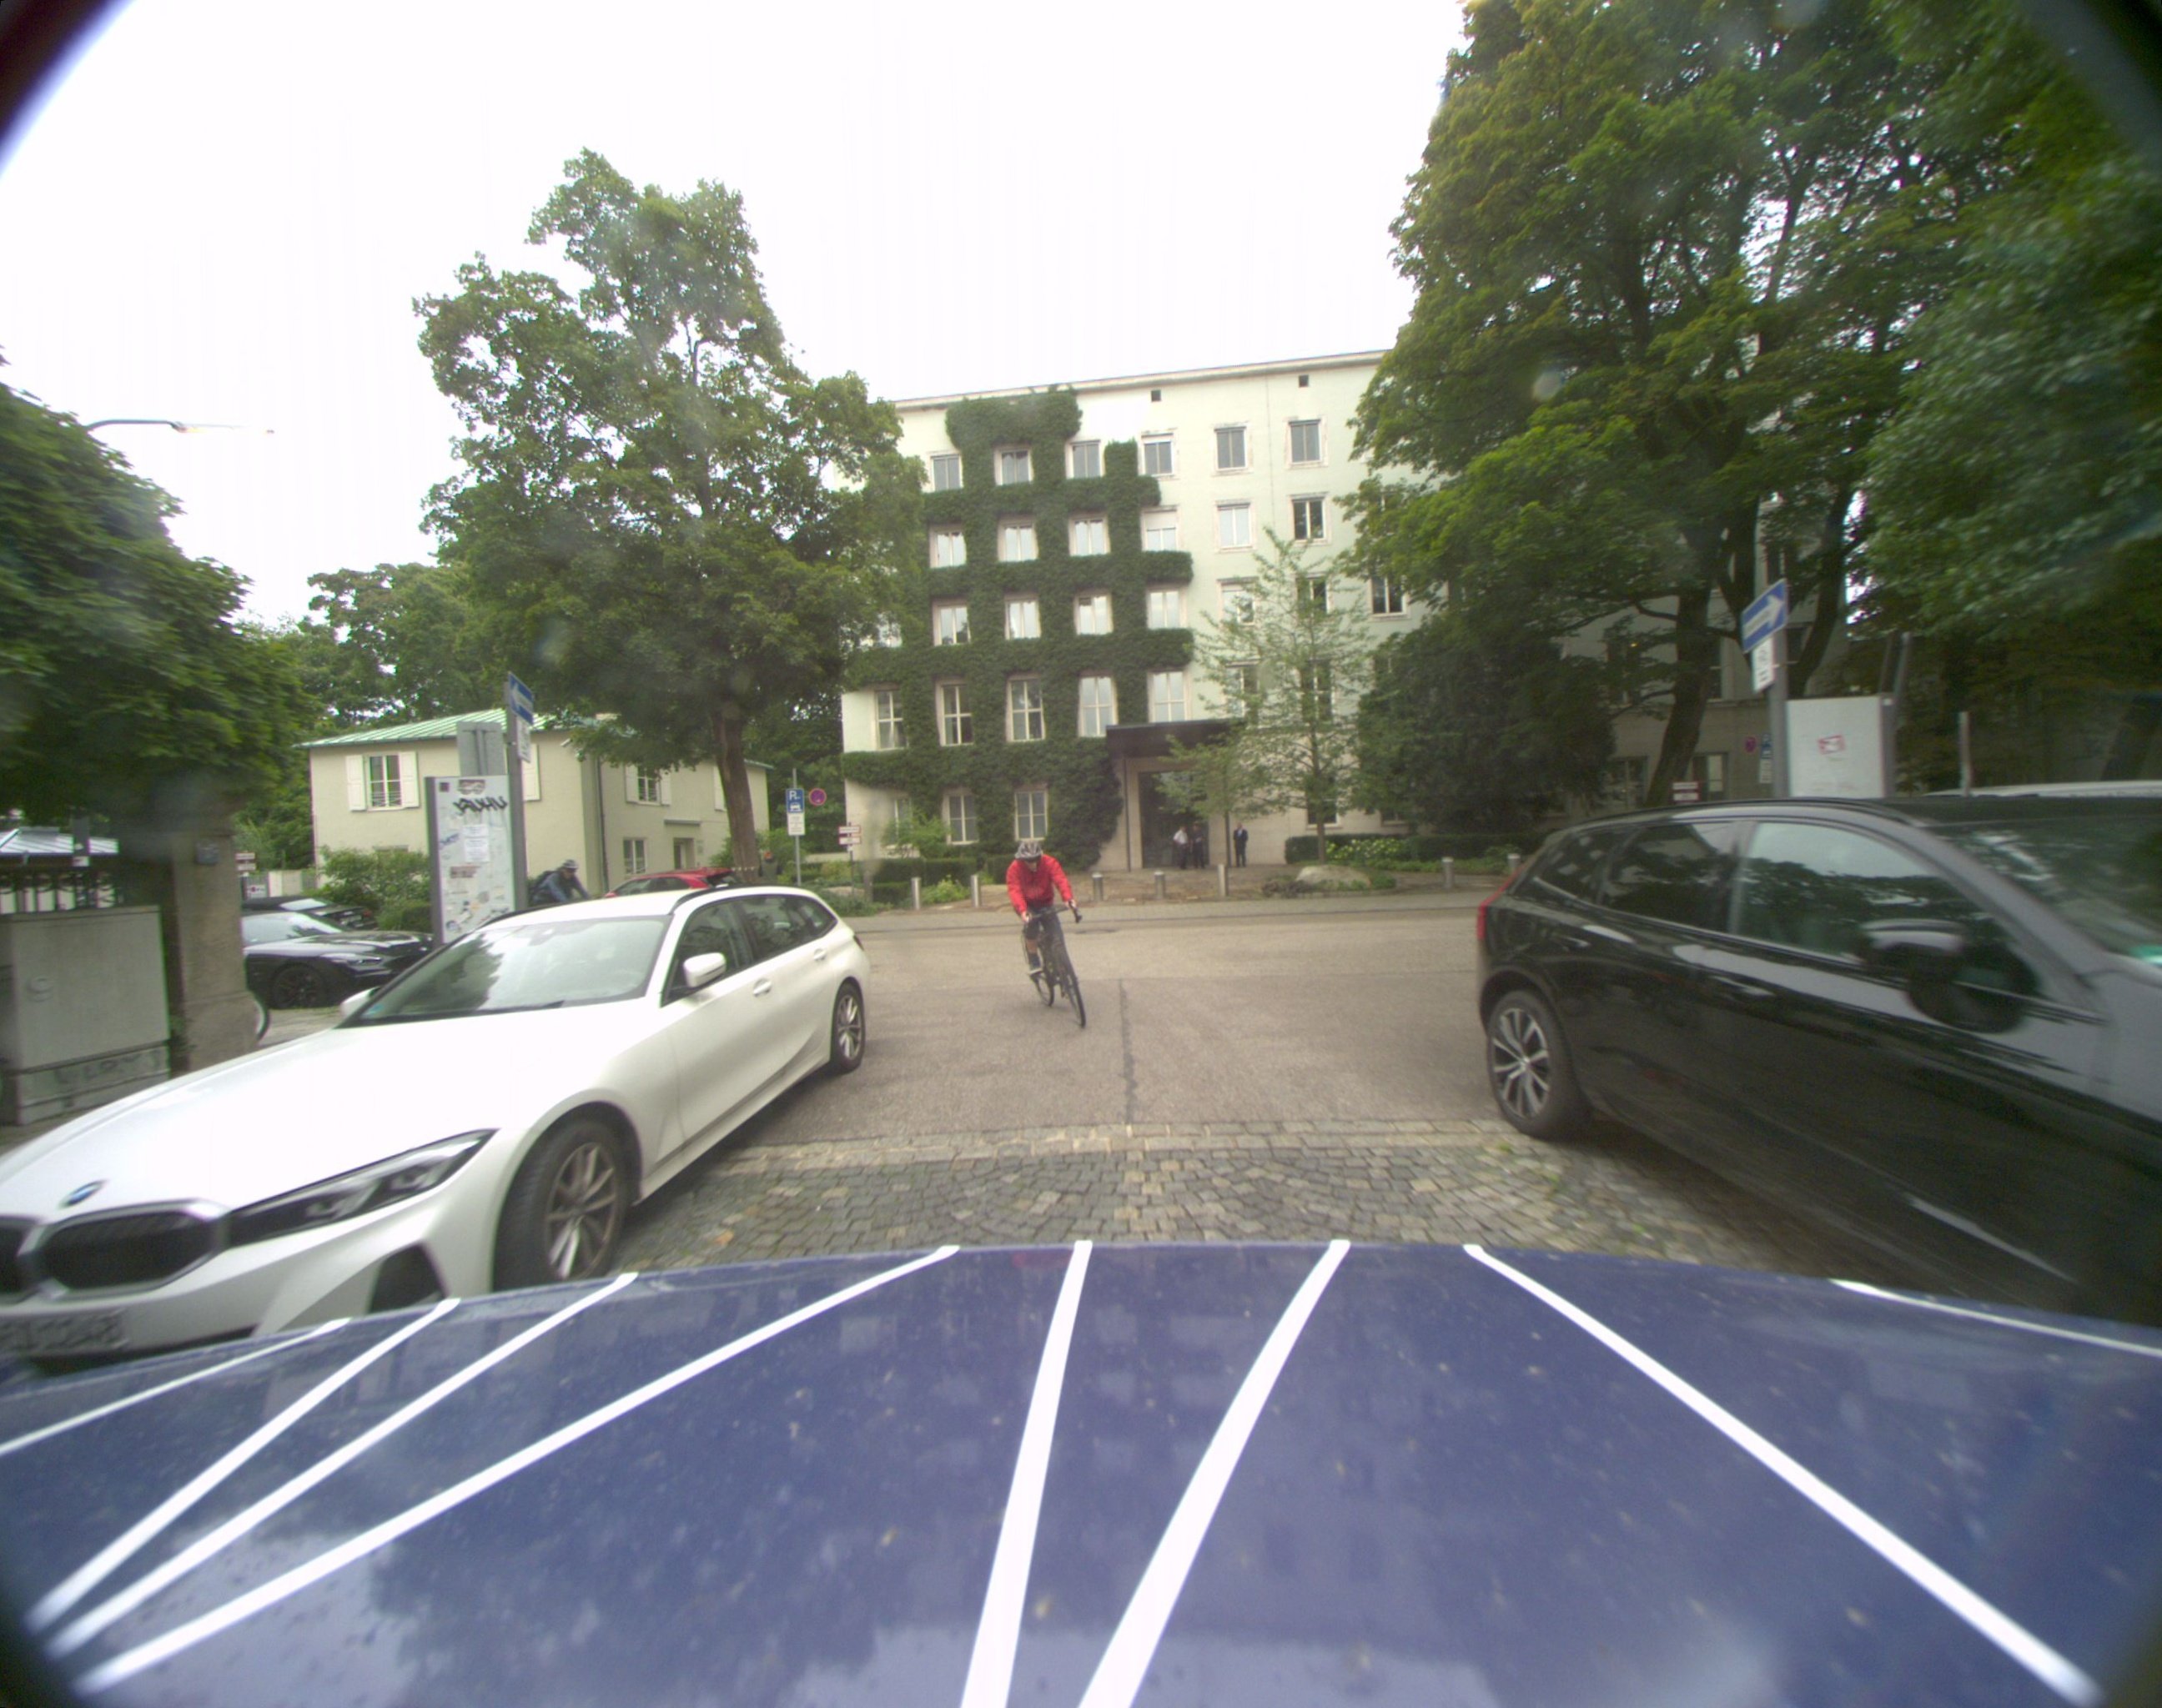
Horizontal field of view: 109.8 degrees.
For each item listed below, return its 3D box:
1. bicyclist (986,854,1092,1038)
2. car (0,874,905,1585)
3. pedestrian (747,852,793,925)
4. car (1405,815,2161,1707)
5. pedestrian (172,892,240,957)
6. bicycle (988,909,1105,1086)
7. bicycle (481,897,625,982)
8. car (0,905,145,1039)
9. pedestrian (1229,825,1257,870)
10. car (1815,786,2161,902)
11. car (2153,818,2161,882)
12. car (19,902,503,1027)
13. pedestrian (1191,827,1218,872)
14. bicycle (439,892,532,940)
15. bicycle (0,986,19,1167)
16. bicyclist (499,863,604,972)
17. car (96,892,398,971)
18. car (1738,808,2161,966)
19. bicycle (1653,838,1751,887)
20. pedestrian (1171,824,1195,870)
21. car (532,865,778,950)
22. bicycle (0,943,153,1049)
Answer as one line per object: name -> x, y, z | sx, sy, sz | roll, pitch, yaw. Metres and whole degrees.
bicyclist -> -0.404, 0.760, 6.820 | 0.757, 1.475, 0.980 | -3, 2, -11
car -> -2.689, 1.028, 4.308 | 1.911, 1.522, 4.923 | -5, 0, 2
pedestrian -> -8.182, 0.898, 20.000 | 0.796, 1.842, 0.715 | -2, 2, 3
car -> 2.983, 0.750, 2.361 | 1.942, 1.642, 5.054 | 1, 1, 2
pedestrian -> -22.391, 1.791, 19.463 | 0.752, 1.540, 0.715 | -3, 3, -1
bicycle -> -0.380, 1.174, 6.849 | 0.674, 1.135, 2.008 | -3, 2, -12
bicycle -> -8.689, 1.403, 12.554 | 1.799, 1.200, 0.721 | -4, 2, 2
car -> -15.912, 1.676, 10.512 | 3.707, 1.538, 1.775 | -3, 5, 4
pedestrian -> 6.423, -0.253, 30.142 | 0.900, 1.743, 0.752 | -2, 1, 0
car -> 18.350, -0.242, 15.001 | 5.448, 1.946, 2.254 | -3, 2, 2
car -> 24.266, -0.140, 14.653 | 3.945, 1.322, 2.219 | -3, 2, 2
car -> -11.039, 1.446, 10.497 | 4.591, 1.311, 2.007 | -3, -2, 2
pedestrian -> 4.895, -0.193, 30.183 | 0.900, 1.743, 0.752 | -2, 1, 0
bicycle -> -15.601, 1.620, 19.917 | 2.044, 1.124, 0.652 | -3, 1, 9
bicycle -> -6.584, 1.229, 3.536 | 0.467, 1.268, 1.919 | -4, 1, 0
bicyclist -> -8.709, 1.027, 12.544 | 1.034, 1.657, 0.781 | -4, 2, 2
car -> -19.356, 1.776, 17.802 | 4.920, 1.394, 1.812 | -3, 2, -1
car -> 10.976, 0.321, 8.783 | 4.581, 1.537, 2.281 | -2, -1, 7
bicycle -> 14.926, 0.196, 18.297 | 1.765, 1.096, 0.635 | -2, 2, 6
pedestrian -> 4.038, -0.281, 30.124 | 0.752, 1.743, 0.901 | -3, 1, 2
car -> -9.650, 1.192, 17.469 | 4.523, 1.581, 1.893 | -3, 2, 2
bicycle -> -11.777, 1.603, 8.620 | 1.936, 1.057, 0.665 | -3, 0, 10
